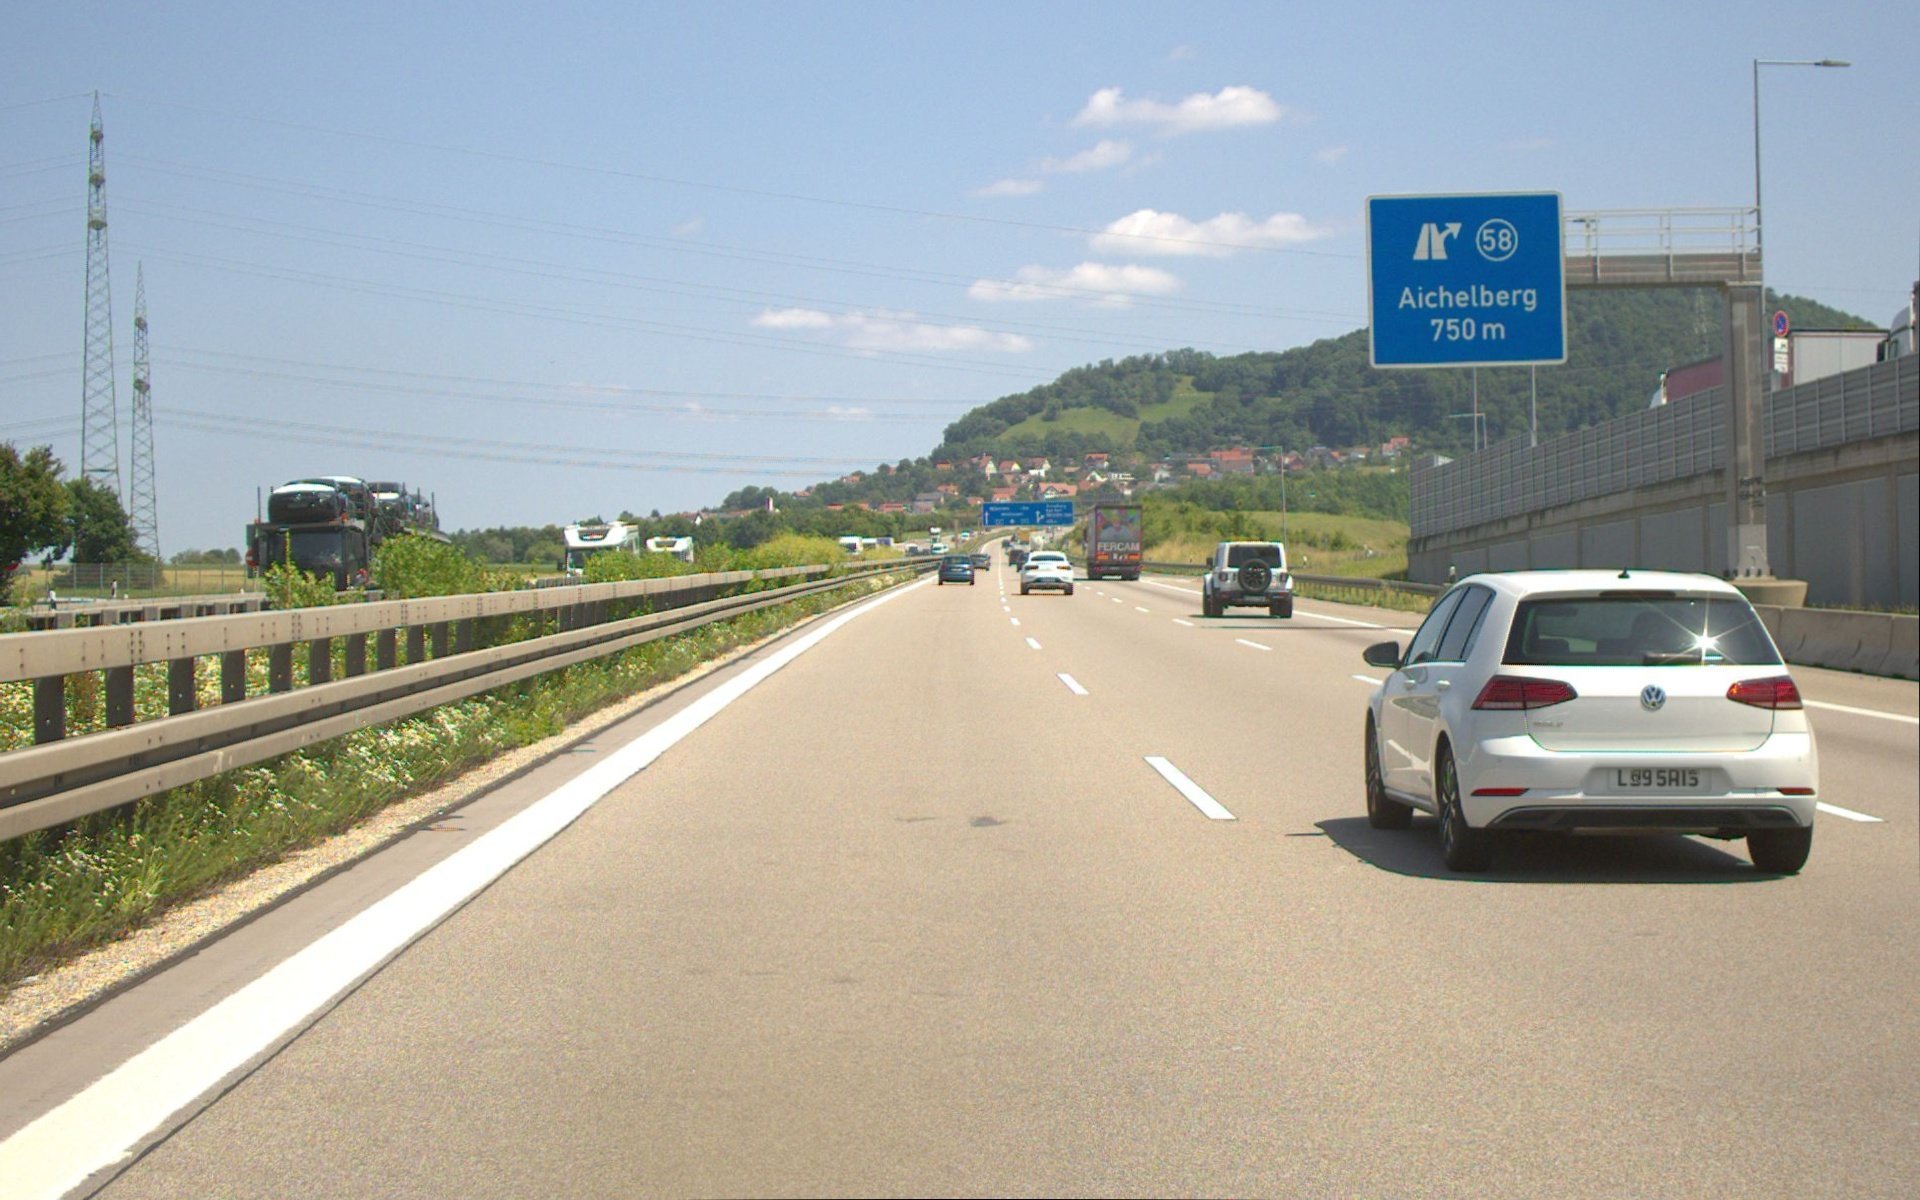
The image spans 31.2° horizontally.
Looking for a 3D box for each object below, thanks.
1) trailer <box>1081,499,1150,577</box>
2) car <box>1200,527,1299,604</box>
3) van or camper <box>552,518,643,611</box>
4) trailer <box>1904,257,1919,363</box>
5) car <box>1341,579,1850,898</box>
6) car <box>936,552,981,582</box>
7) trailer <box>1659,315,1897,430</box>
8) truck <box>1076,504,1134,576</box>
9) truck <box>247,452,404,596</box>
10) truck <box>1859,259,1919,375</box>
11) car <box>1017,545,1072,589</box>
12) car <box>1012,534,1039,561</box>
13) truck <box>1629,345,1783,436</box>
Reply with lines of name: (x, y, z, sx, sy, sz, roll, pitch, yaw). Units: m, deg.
trailer: (8.566, -3.382, 190.616, 2.725, 4.141, 11.809, 2, 0, -2)
car: (7.018, -0.848, 83.728, 2.034, 1.798, 4.250, -1, 1, 0)
van or camper: (-13.420, -1.326, 127.839, 2.523, 3.256, 7.375, -2, 1, 0)
trailer: (22.303, -6.259, 68.308, 2.719, 2.216, 14.529, 1, 0, -1)
car: (3.154, 0.617, 18.003, 1.776, 1.428, 4.691, 1, 0, 0)
car: (-0.072, -1.533, 160.359, 1.993, 1.384, 4.000, 1, 0, 1)
trailer: (21.798, -6.013, 92.640, 2.719, 2.216, 14.022, 1, 0, -1)
truck: (8.315, -3.403, 197.953, 2.752, 4.007, 6.789, 1, 0, -2)
truck: (-17.660, -2.055, 96.242, 2.676, 3.806, 9.153, 1, 0, 0)
truck: (22.117, -6.273, 76.089, 2.723, 2.223, 6.037, 1, 0, -1)
car: (3.088, -1.210, 126.468, 1.914, 1.575, 5.231, 1, 0, 0)
car: (4.975, -3.978, 262.163, 1.993, 2.007, 4.000, 1, 0, 1)
truck: (21.619, -6.047, 100.035, 2.707, 2.197, 7.288, 1, 0, -1)
